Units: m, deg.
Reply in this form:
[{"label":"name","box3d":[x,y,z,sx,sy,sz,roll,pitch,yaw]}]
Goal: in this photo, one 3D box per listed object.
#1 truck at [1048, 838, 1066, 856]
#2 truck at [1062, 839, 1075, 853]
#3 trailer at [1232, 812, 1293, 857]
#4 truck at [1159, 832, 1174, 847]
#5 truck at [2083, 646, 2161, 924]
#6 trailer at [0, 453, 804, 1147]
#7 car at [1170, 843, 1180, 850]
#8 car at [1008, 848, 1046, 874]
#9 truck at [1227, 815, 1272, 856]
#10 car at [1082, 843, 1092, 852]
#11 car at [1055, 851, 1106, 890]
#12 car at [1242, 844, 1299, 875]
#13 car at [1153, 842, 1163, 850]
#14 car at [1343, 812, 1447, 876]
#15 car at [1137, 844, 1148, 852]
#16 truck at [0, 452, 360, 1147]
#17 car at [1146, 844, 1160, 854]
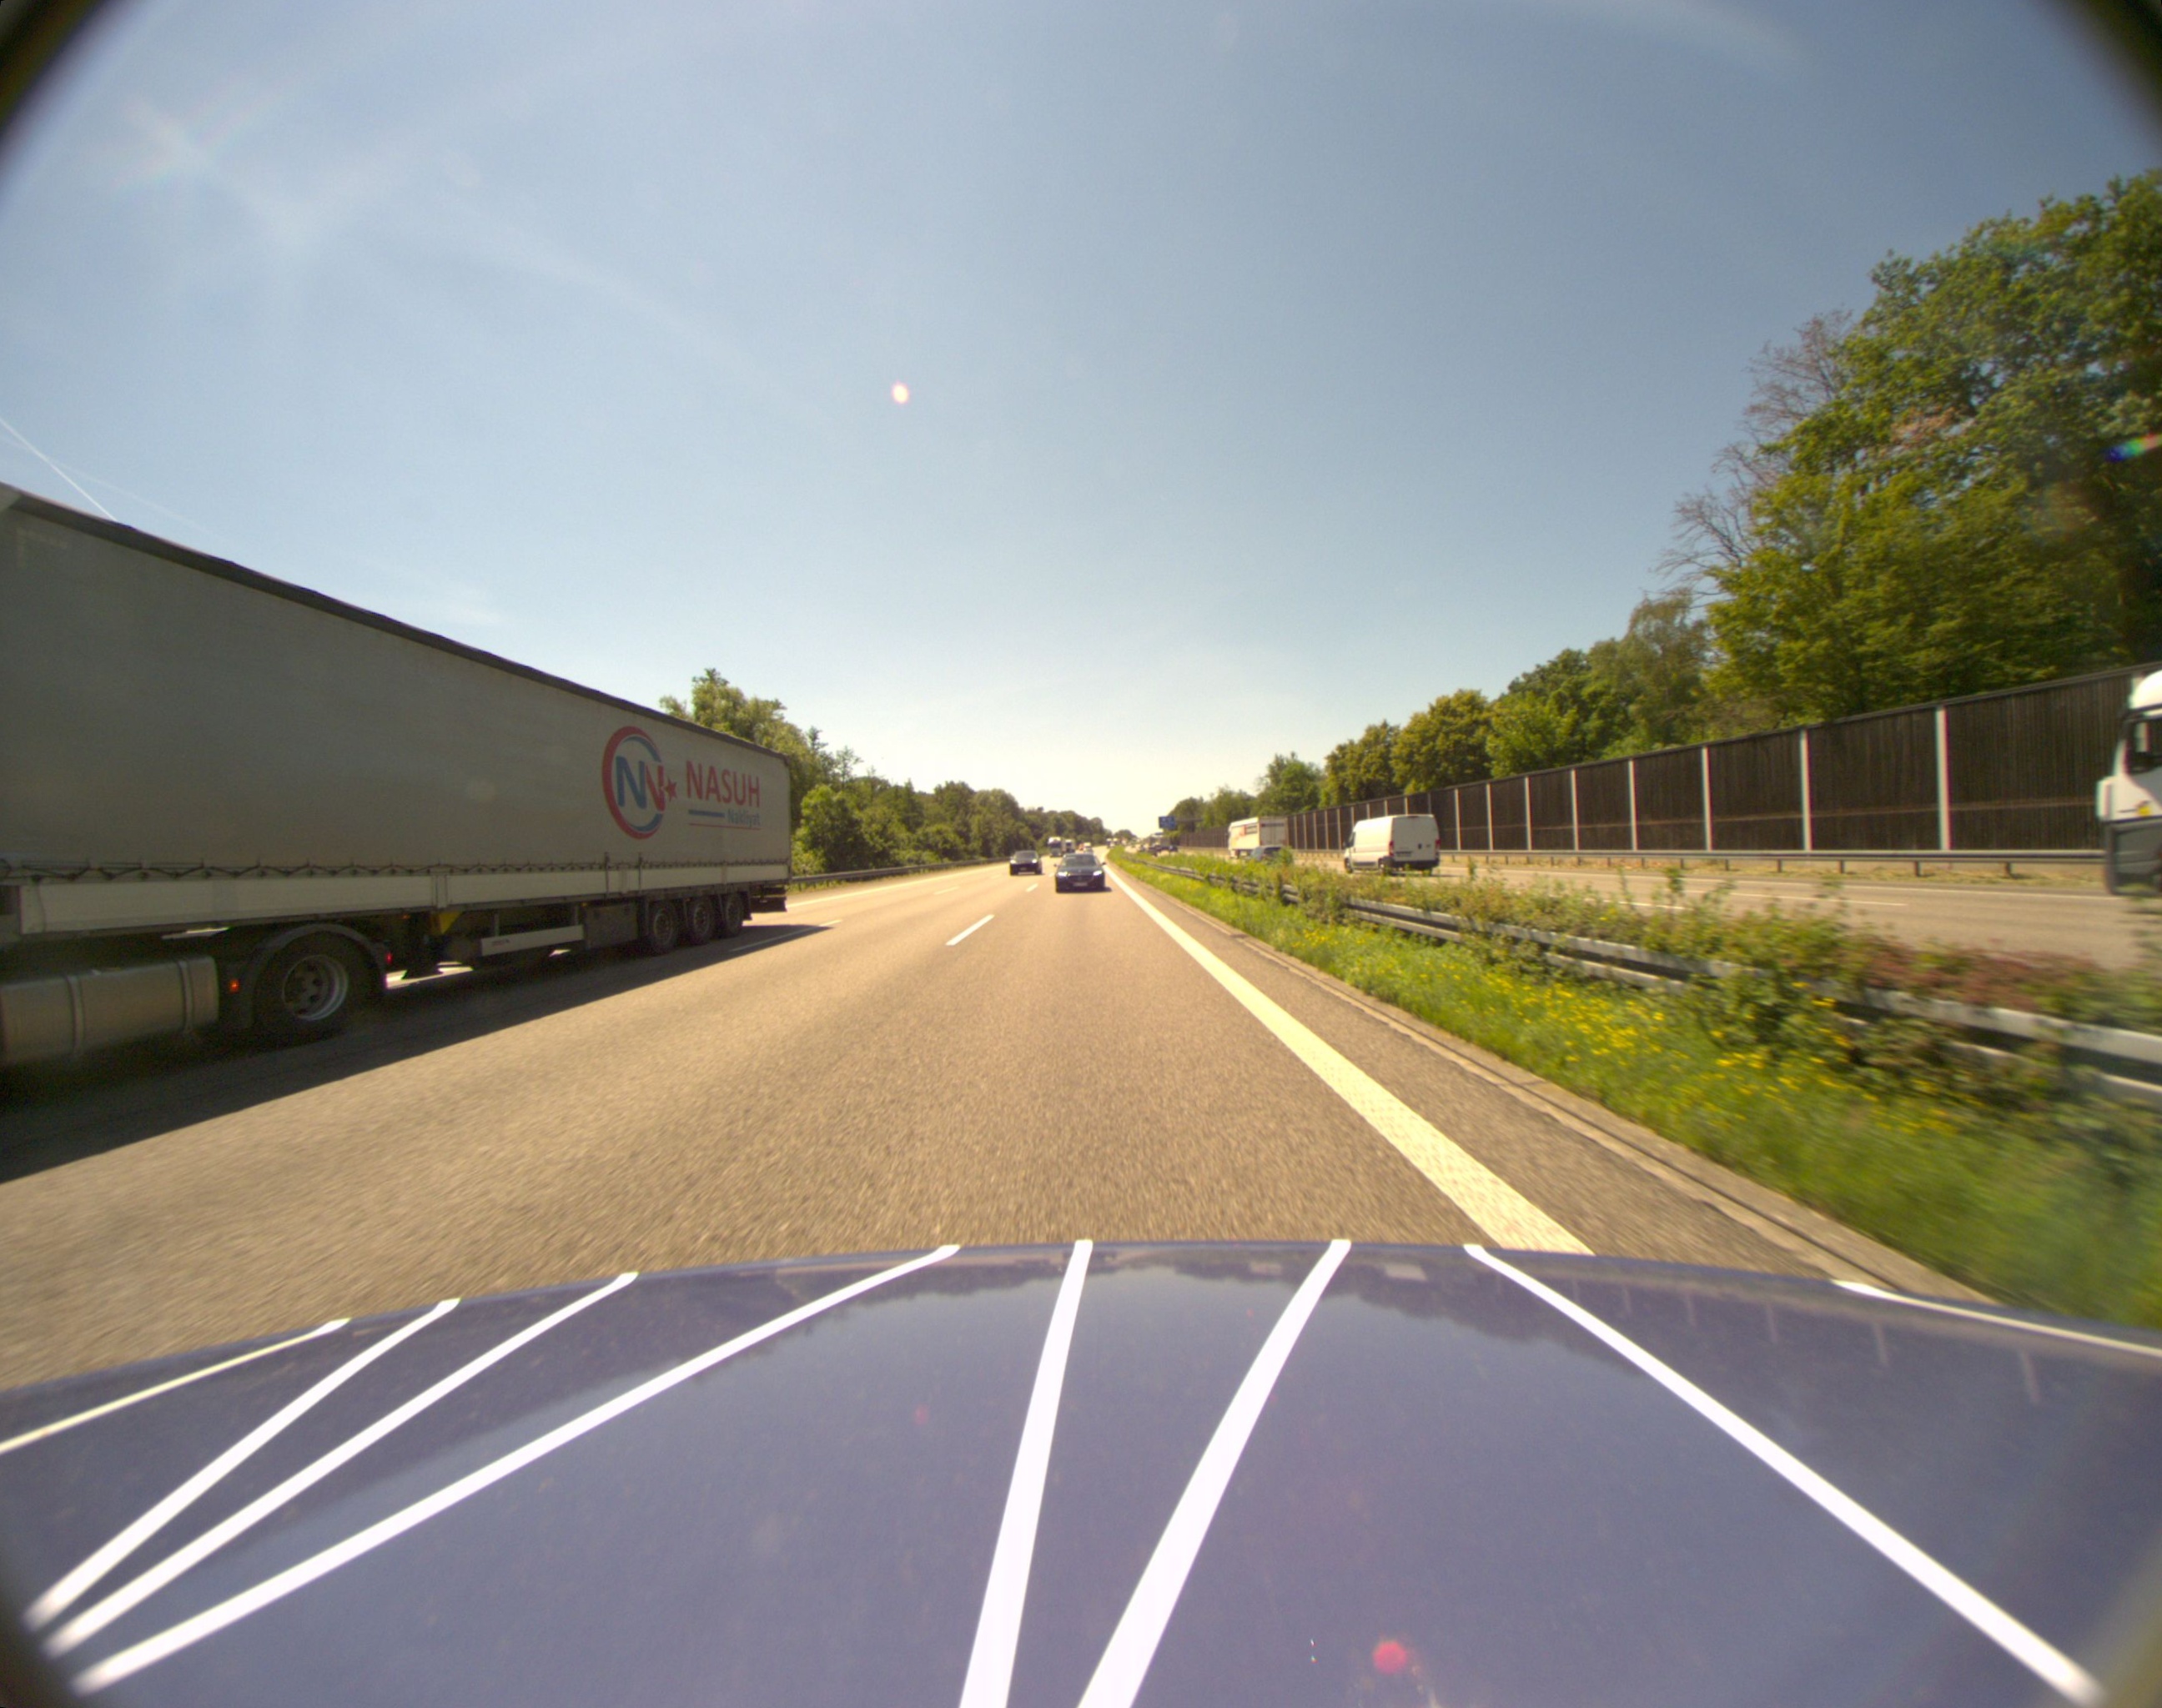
[{"label":"truck","box3d":[-4.967,-1.480,158.029,3.074,3.617,12.400,-2,1,1]},{"label":"truck","box3d":[-3.329,-2.065,205.292,3.074,3.617,12.400,-2,1,1]},{"label":"trailer","box3d":[17.920,-1.871,76.082,3.100,4.006,13.006,-2,1,1]},{"label":"truck","box3d":[22.291,-3.682,198.852,2.664,3.713,11.200,-2,1,2]},{"label":"truck","box3d":[17.092,-1.022,8.530,2.959,4.006,6.595,-2,1,0]},{"label":"trailer","box3d":[-8.163,-0.387,11.514,2.542,4.446,14.158,-2,1,0]},{"label":"car","box3d":[20.245,-1.618,163.990,1.803,1.439,4.000,-2,1,2]},{"label":"car","box3d":[-3.731,0.451,53.485,2.048,1.616,5.772,-2,0,2]},{"label":"truck","box3d":[18.058,-1.928,81.887,3.119,4.006,7.965,-2,1,1]},{"label":"car","box3d":[1.285,-1.351,153.826,1.909,1.717,4.375,-2,1,1]},{"label":"car","box3d":[-0.115,0.659,33.994,1.949,1.498,5.819,-2,0,-3]},{"label":"car","box3d":[9.531,0.240,38.535,1.804,1.439,3.999,-2,1,0]},{"label":"car","box3d":[16.629,-1.727,163.875,1.803,1.439,4.000,-2,1,2]},{"label":"car","box3d":[13.382,-0.411,32.887,2.137,2.494,5.705,-1,1,0]},{"label":"car","box3d":[11.815,-1.126,145.837,1.804,1.439,3.999,-2,1,0]},{"label":"truck","box3d":[-8.171,-0.322,4.353,2.542,4.446,5.571,-2,1,0]},{"label":"car","box3d":[10.878,-0.735,115.098,1.803,1.439,4.000,-2,1,2]}]
